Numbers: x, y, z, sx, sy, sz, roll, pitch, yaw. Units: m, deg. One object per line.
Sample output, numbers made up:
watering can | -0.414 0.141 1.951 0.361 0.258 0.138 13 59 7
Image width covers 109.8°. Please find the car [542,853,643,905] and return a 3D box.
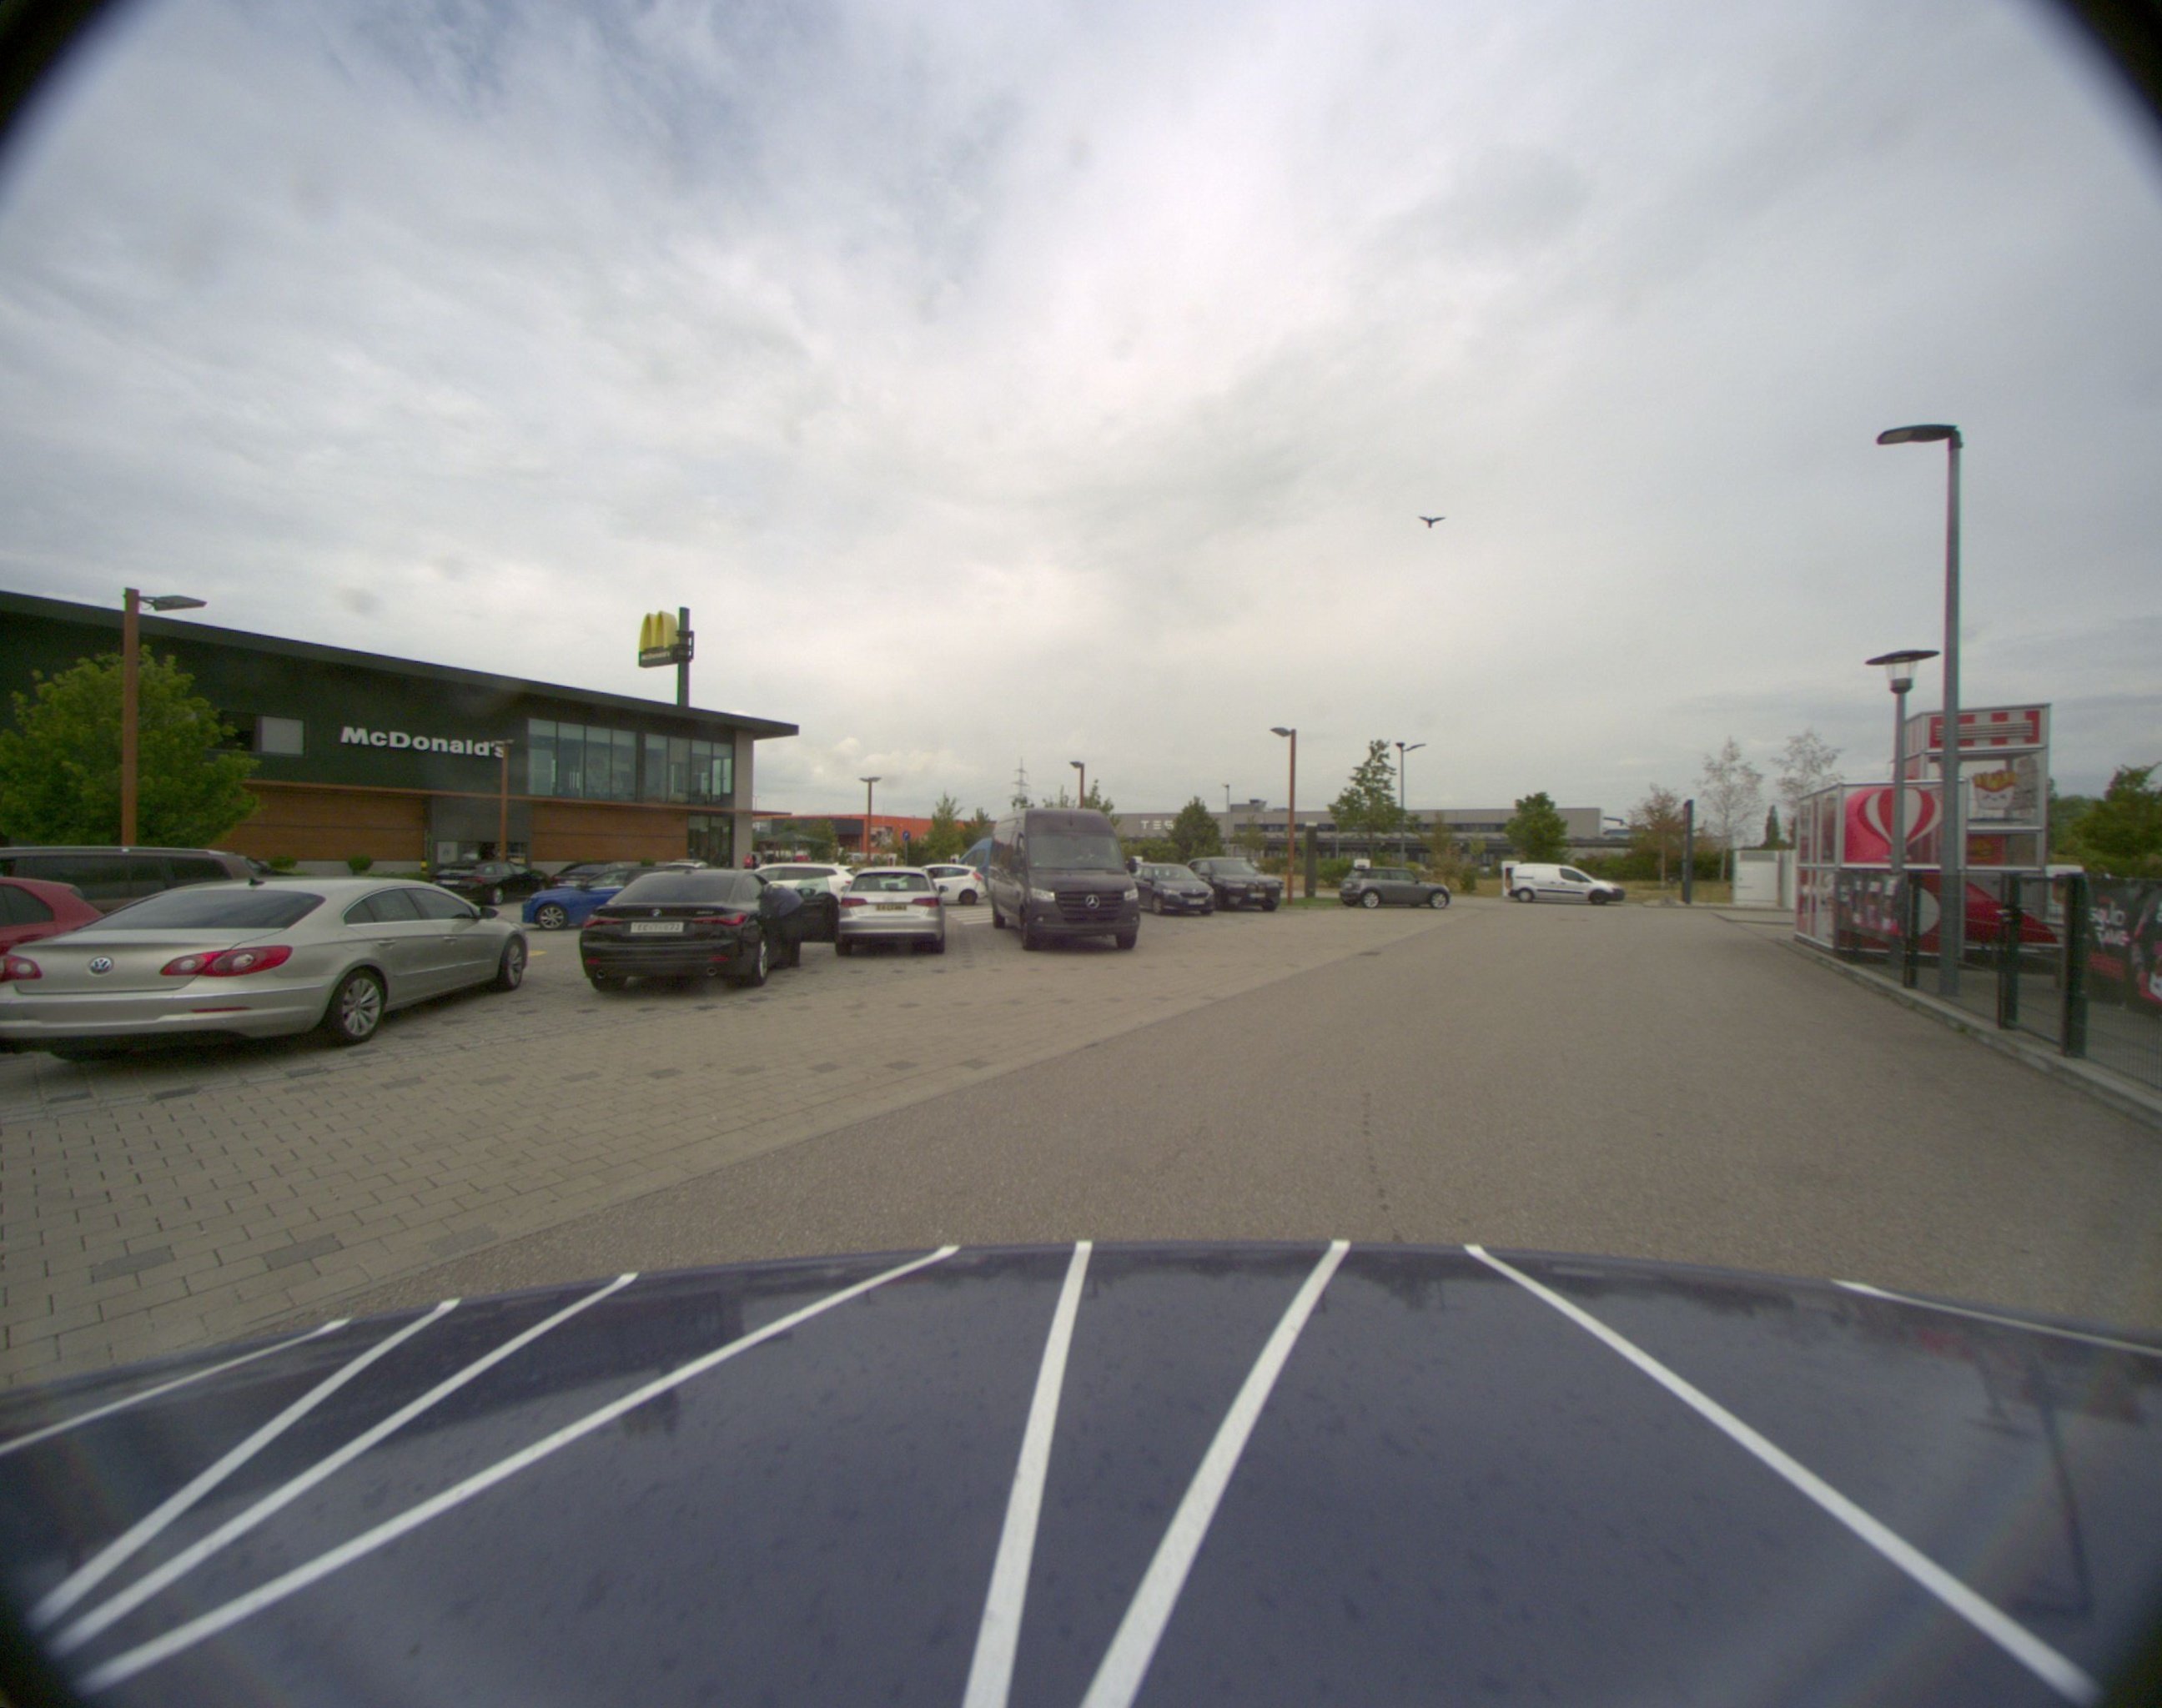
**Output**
car | -18.304 0.887 28.708 1.899 1.652 4.252 2 2 -14

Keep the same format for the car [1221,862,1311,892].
car | 10.215 1.221 42.064 4.443 1.450 1.838 1 1 37

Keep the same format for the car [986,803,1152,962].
car | -0.599 0.491 15.769 2.074 2.538 7.005 0 0 -12

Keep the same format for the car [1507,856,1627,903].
car | 21.549 1.100 33.781 4.324 1.877 1.951 1 -1 34

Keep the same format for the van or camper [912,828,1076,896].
van or camper | -3.613 0.334 31.880 6.572 2.685 2.171 0 0 -7

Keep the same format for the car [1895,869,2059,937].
car | 22.597 1.143 19.357 1.624 1.496 4.178 1 0 34

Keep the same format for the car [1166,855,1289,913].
car | 4.669 0.912 25.027 2.001 1.717 4.890 1 -1 -15

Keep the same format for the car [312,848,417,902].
car | -25.265 0.708 26.754 3.988 1.743 1.757 1 -1 33

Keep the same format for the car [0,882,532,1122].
car | -7.124 1.028 7.101 1.754 1.403 4.454 0 0 -15

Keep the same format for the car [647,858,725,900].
car | -16.519 1.000 31.999 1.791 1.478 3.995 2 1 -10

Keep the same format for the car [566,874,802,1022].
car | -4.976 1.033 10.213 1.688 1.454 4.402 0 0 -12

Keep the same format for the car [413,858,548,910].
car | -20.302 0.947 25.920 1.838 1.565 4.089 1 0 -9

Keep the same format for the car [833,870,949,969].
car | -3.239 1.031 13.588 1.687 1.443 3.997 0 0 -9

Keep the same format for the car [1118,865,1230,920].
car | 2.639 1.058 22.626 1.834 1.403 3.994 0 0 -17

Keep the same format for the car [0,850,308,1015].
car | -11.880 0.817 8.504 1.805 1.679 4.200 1 -1 33

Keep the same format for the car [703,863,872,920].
car | -7.912 1.011 20.880 4.113 1.458 1.778 1 -2 -14

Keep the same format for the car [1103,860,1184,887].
car | 3.822 1.144 46.648 4.465 1.544 2.077 1 0 33

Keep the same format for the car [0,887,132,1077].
car | -9.136 1.015 4.792 1.687 1.455 3.997 0 0 -9

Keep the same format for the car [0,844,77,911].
car | -26.561 0.545 17.783 1.752 1.575 3.899 2 -1 -18

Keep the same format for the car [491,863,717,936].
car | -10.839 1.026 17.550 4.001 1.501 1.768 2 -1 -10

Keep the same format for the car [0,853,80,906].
car | -32.400 0.714 22.008 1.783 1.497 4.009 1 -1 34

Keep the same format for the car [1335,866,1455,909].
car | 10.966 1.149 26.694 3.526 1.368 1.609 2 -1 -6

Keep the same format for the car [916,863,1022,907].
car | -3.999 1.063 26.781 3.575 1.445 1.841 0 0 -13

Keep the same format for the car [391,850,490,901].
car | -24.194 0.773 28.671 3.988 1.743 1.757 1 -1 33

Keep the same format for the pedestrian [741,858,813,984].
pedestrian | -4.212 0.898 10.597 0.749 1.668 0.842 -1 0 -11
